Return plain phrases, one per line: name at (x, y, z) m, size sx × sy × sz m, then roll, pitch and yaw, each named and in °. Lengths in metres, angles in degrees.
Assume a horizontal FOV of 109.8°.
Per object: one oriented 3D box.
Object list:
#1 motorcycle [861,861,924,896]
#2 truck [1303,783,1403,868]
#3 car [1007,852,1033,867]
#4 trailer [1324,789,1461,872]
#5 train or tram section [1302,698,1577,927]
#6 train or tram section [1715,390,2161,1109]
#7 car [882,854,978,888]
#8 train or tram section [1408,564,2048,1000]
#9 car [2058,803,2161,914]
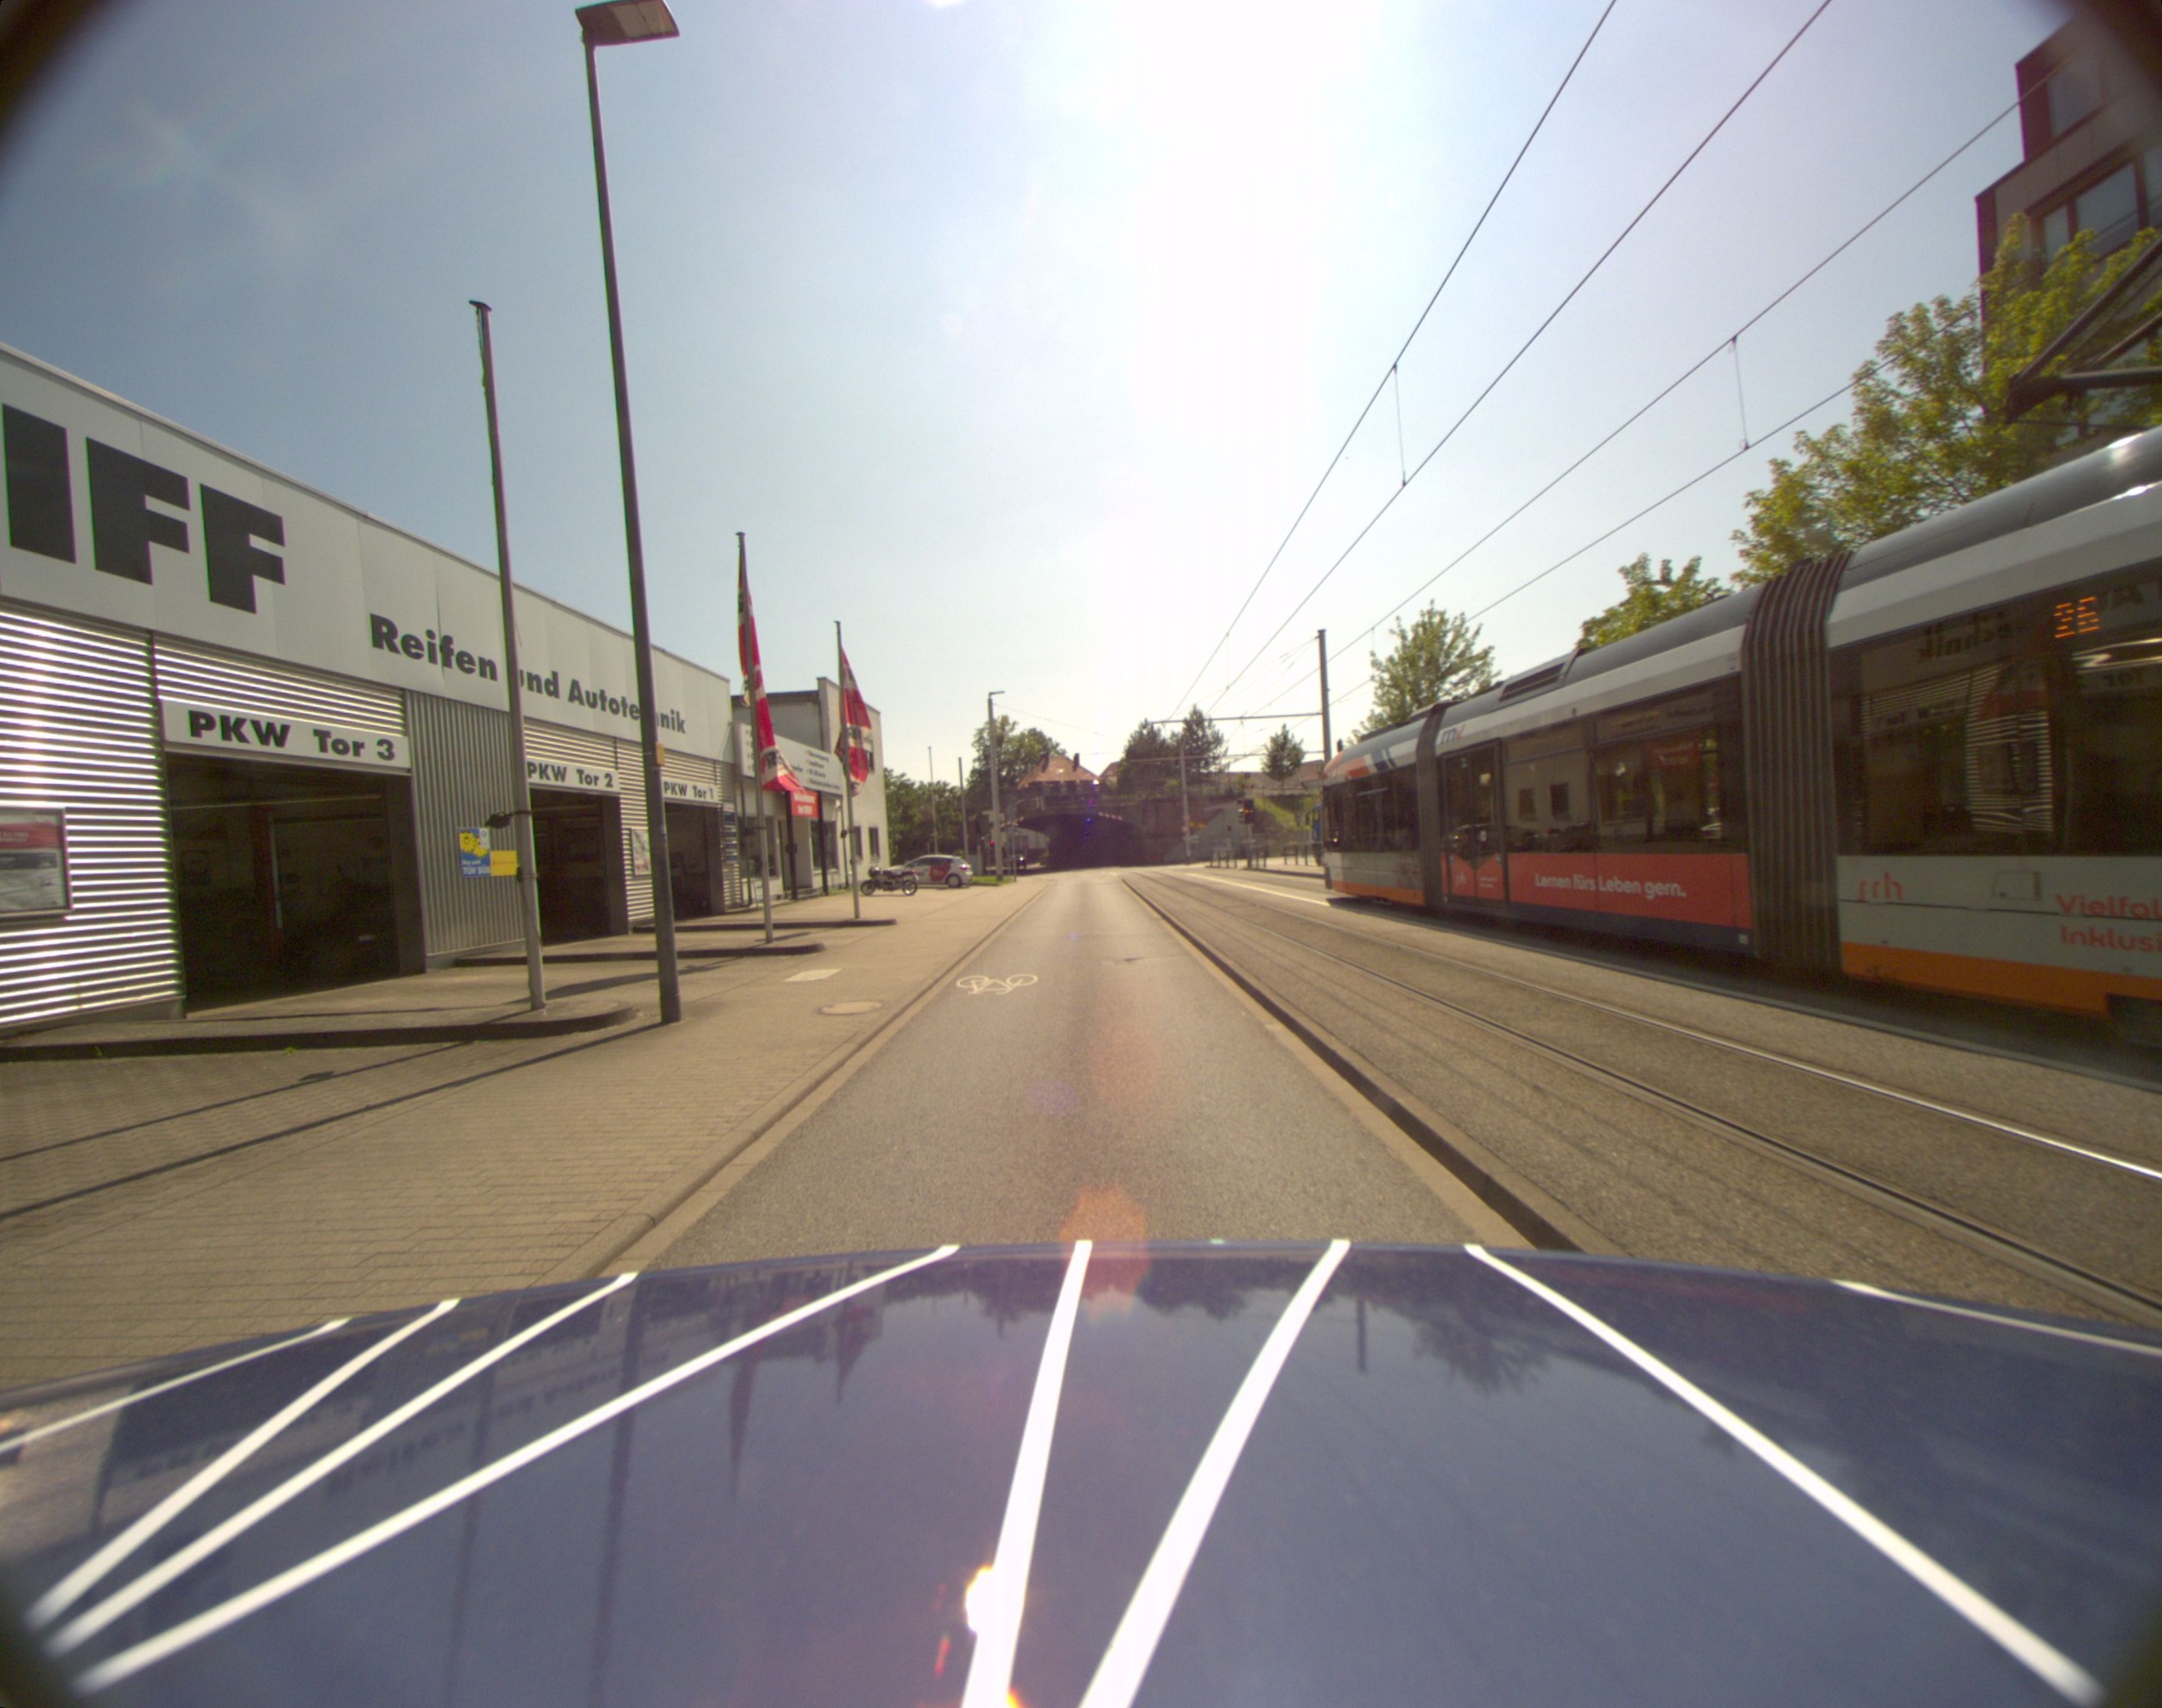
motorcycle at (-7.117, 0.911, 28.761) m, size 2.189 × 1.301 × 0.731 m, roll 0°, pitch 2°, yaw -1°
truck at (12.684, -1.264, 35.828) m, size 2.750 × 3.588 × 5.039 m, roll -3°, pitch 0°, yaw 0°
car at (-7.341, 0.680, 90.643) m, size 1.824 × 1.594 × 4.300 m, roll -5°, pitch 1°, yaw -21°
trailer at (12.711, -0.892, 31.736) m, size 2.750 × 2.960 × 6.897 m, roll -3°, pitch 0°, yaw 0°
train or tram section at (6.541, -0.677, 14.955) m, size 2.617 × 3.512 × 5.742 m, roll -3°, pitch 1°, yaw 0°
train or tram section at (6.472, -0.535, 3.635) m, size 2.617 × 3.427 × 5.010 m, roll -3°, pitch 1°, yaw 0°
car at (-6.765, 0.761, 34.347) m, size 3.997 × 1.454 × 1.889 m, roll 0°, pitch 1°, yaw -1°
train or tram section at (6.540, -0.598, 9.112) m, size 2.617 × 3.427 × 5.842 m, roll -3°, pitch 1°, yaw 0°
car at (15.490, 0.032, 9.420) m, size 1.727 × 1.455 × 3.904 m, roll -5°, pitch 0°, yaw 2°
